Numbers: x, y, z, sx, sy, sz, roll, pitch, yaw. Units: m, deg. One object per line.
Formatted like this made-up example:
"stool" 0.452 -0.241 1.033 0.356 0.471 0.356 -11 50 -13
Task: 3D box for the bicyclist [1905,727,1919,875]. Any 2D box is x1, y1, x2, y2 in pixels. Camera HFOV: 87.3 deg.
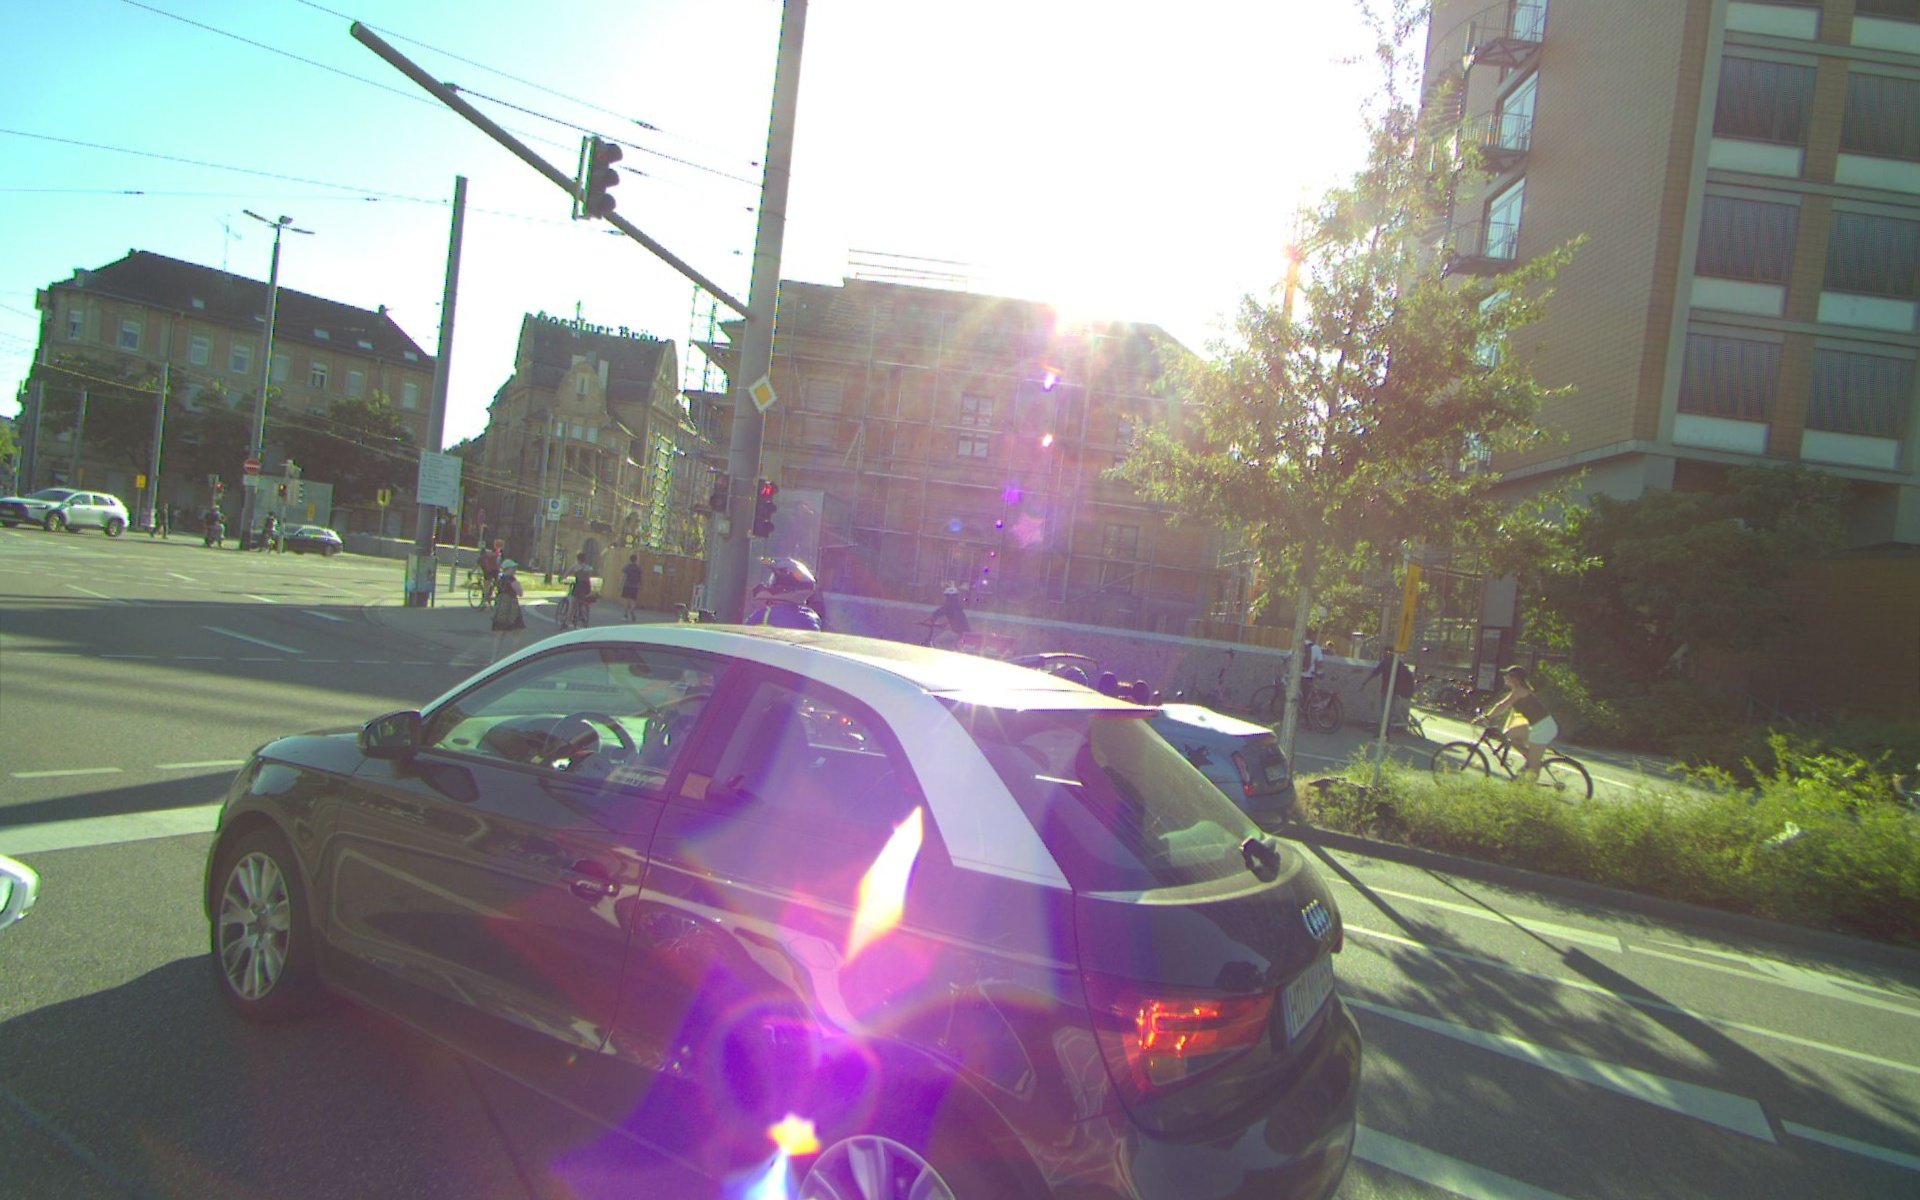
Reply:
"bicyclist" 10.536 2.022 10.395 0.835 1.809 0.717 6 -1 29

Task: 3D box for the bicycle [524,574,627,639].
"bicycle" -8.351 0.129 21.807 2.252 1.172 0.778 7 3 30

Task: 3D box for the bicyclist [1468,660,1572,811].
"bicyclist" 6.538 1.556 11.740 0.835 1.568 0.716 9 1 31

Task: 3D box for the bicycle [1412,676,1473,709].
"bicycle" 15.630 2.994 32.617 1.623 0.868 0.529 7 1 1

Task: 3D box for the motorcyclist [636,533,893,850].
"motorcyclist" -1.212 0.546 6.367 0.921 1.742 1.097 6 -1 33

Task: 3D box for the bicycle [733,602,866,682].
"bicycle" -2.935 0.758 18.343 2.250 1.170 0.779 7 1 26

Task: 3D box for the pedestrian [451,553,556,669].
"pedestrian" -6.920 0.193 15.286 0.686 1.626 1.096 9 1 21

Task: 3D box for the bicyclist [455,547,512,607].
"bicyclist" -12.076 -0.588 25.515 1.058 1.401 0.721 5 -1 32

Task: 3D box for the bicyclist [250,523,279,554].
"bicyclist" -30.472 -2.699 44.074 0.854 1.191 0.707 8 1 -39

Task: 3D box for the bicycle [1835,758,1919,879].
"bicycle" 10.511 2.383 10.388 2.031 1.134 0.719 6 -1 30

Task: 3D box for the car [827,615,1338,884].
"car" 0.987 1.138 8.781 3.914 1.461 1.803 7 -2 34

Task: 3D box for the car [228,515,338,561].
"car" -33.202 -3.006 49.522 1.915 1.582 4.360 9 0 8

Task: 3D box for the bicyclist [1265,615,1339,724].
"bicyclist" 6.093 1.227 17.935 0.881 1.810 0.785 6 2 40

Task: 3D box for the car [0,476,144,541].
"car" -33.678 -3.405 37.969 1.919 1.821 4.847 7 0 -4

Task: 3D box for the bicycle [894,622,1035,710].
"bicycle" 0.032 1.114 17.334 0.776 1.170 2.548 6 1 -45

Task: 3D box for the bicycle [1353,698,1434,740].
"bicycle" 8.265 2.264 19.209 1.332 0.547 0.430 7 2 18

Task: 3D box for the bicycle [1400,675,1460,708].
"bicycle" 15.566 3.025 33.333 1.623 0.868 0.529 7 1 1

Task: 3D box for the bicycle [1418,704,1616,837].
"bicycle" 6.468 1.943 11.756 1.837 1.135 0.718 9 1 32

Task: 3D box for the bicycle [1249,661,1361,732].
"bicycle" 6.442 1.786 18.893 0.621 1.052 1.946 4 1 -33

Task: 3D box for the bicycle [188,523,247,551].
"bicycle" -31.426 -2.669 42.630 0.845 0.916 2.301 9 0 -4

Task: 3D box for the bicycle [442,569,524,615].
"bicycle" -12.121 -0.208 25.517 2.212 0.964 0.721 5 -1 32

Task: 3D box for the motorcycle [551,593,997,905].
"motorcycle" -1.233 0.812 6.359 2.610 1.394 1.097 6 -1 33

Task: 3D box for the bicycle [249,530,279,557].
"bicycle" -30.497 -2.479 44.064 0.854 0.916 2.278 8 0 -38

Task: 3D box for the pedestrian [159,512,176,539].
"pedestrian" -42.610 -3.994 54.081 0.591 1.356 0.423 7 1 32

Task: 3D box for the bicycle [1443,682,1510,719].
"bicycle" 15.321 2.985 29.850 1.623 0.868 0.529 7 1 1

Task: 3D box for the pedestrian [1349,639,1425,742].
"pedestrian" 7.589 1.606 17.879 0.803 1.677 0.781 9 -2 -41

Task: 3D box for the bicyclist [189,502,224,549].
"bicyclist" -31.329 -3.083 41.818 0.851 1.800 0.584 6 1 -4

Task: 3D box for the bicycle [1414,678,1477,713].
"bicycle" 15.253 2.997 31.620 1.623 0.868 0.529 7 1 1

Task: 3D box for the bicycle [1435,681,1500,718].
"bicycle" 15.329 3.003 30.412 1.623 0.868 0.529 7 1 1

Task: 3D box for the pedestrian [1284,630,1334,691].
"pedestrian" 12.606 2.194 36.344 1.279 2.039 0.992 7 1 37

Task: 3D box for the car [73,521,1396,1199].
"car" -0.828 0.738 3.320 3.909 1.461 1.805 7 -1 28

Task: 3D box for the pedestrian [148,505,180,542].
"pedestrian" -40.246 -3.863 50.858 0.770 1.697 0.925 7 1 31

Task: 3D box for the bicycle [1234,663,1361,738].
"bicycle" 6.011 1.766 17.990 1.935 1.052 0.788 6 2 40

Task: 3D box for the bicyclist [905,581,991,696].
"bicyclist" -0.217 0.674 17.568 1.078 1.856 0.776 7 1 42

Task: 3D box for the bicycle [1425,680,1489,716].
"bicycle" 15.310 3.005 30.994 1.623 0.868 0.529 7 1 1

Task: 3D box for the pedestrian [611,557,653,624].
"pedestrian" -8.699 -0.252 26.644 0.692 1.693 0.820 4 2 -38

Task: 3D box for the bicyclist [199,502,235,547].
"bicyclist" -31.335 -3.174 42.432 0.845 1.711 0.650 8 1 -5

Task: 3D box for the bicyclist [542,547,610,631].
"bicyclist" -8.320 -0.238 21.784 1.074 1.700 0.778 7 3 30

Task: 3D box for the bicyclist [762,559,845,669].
"bicyclist" -2.845 0.255 18.316 1.074 1.853 0.779 7 1 26

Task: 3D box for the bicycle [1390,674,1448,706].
"bicycle" 15.503 3.034 33.992 1.623 0.868 0.529 7 1 1
